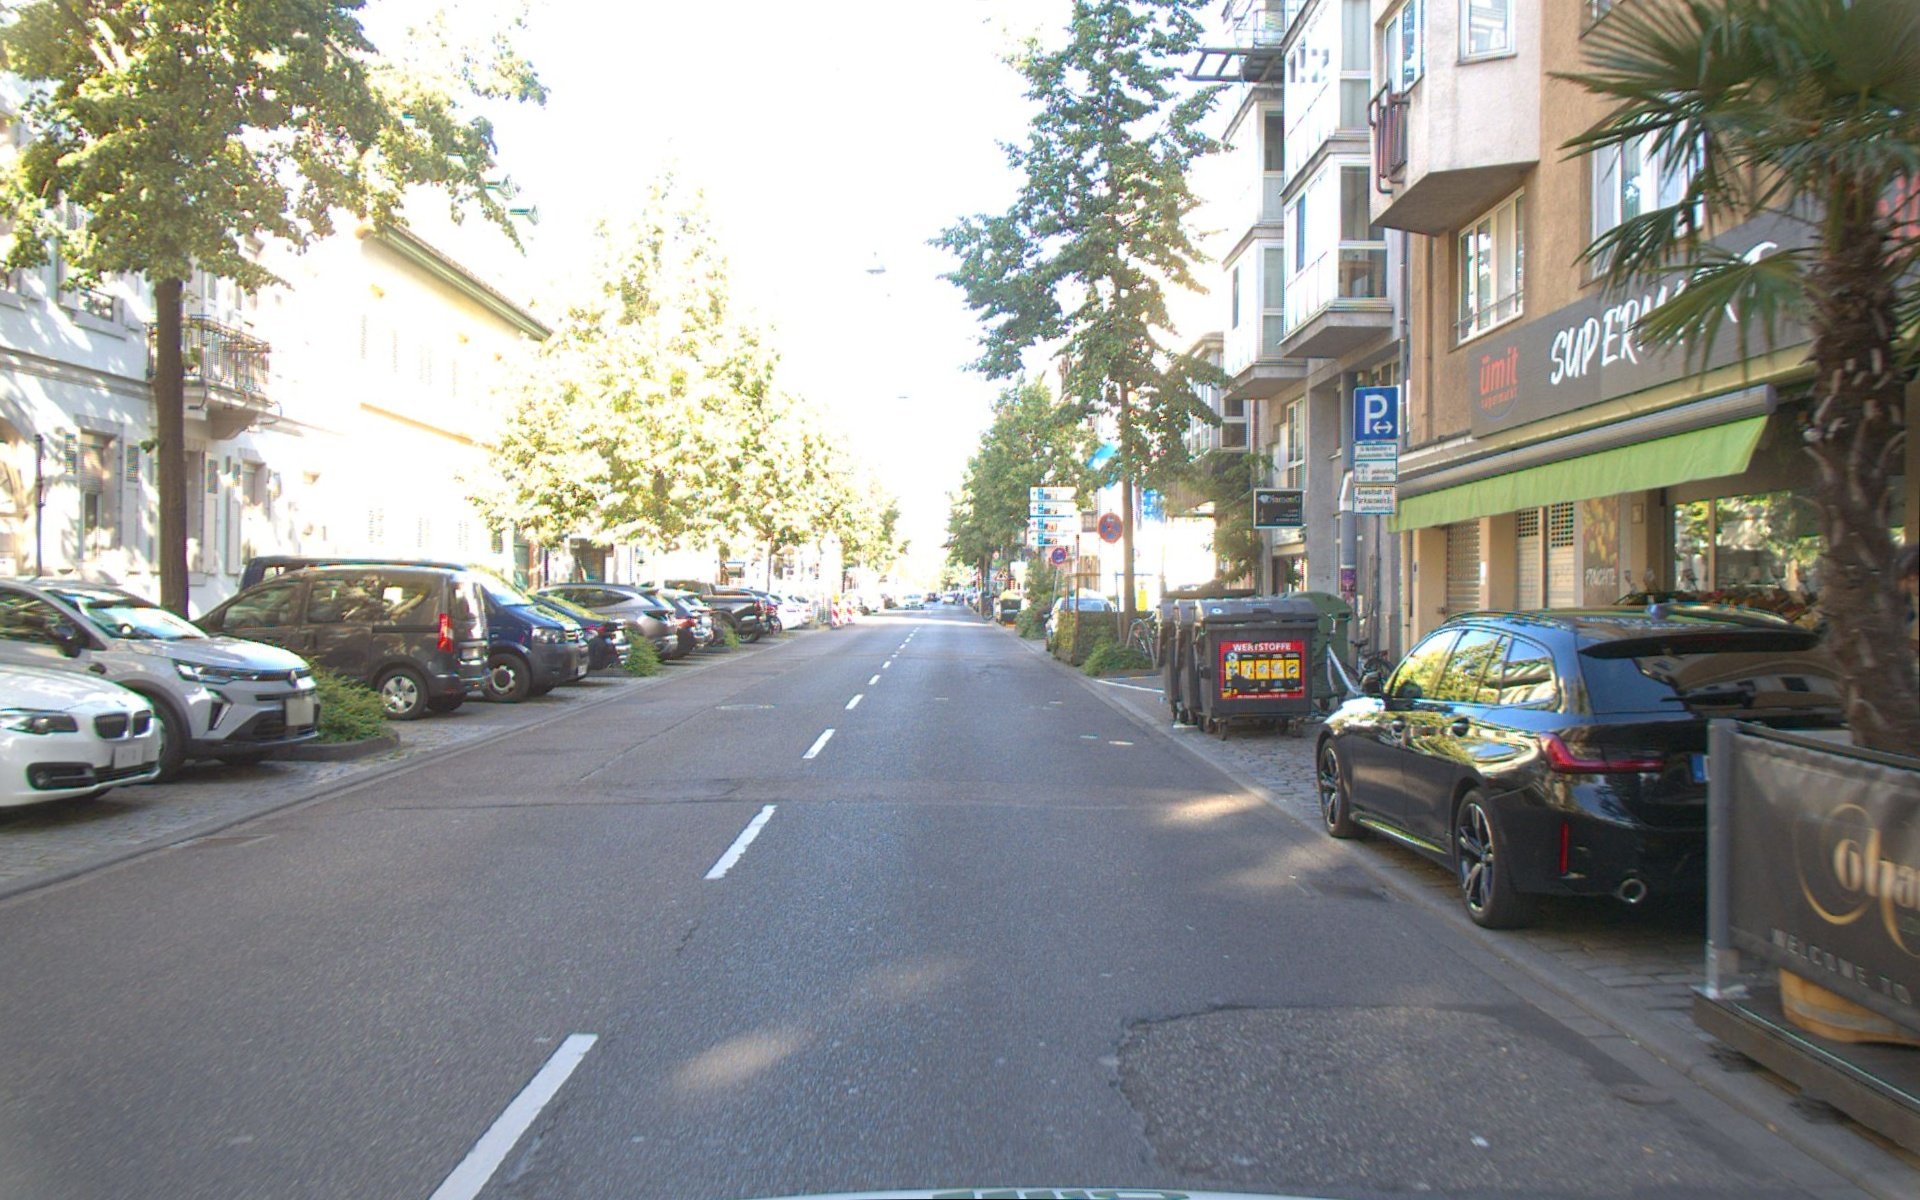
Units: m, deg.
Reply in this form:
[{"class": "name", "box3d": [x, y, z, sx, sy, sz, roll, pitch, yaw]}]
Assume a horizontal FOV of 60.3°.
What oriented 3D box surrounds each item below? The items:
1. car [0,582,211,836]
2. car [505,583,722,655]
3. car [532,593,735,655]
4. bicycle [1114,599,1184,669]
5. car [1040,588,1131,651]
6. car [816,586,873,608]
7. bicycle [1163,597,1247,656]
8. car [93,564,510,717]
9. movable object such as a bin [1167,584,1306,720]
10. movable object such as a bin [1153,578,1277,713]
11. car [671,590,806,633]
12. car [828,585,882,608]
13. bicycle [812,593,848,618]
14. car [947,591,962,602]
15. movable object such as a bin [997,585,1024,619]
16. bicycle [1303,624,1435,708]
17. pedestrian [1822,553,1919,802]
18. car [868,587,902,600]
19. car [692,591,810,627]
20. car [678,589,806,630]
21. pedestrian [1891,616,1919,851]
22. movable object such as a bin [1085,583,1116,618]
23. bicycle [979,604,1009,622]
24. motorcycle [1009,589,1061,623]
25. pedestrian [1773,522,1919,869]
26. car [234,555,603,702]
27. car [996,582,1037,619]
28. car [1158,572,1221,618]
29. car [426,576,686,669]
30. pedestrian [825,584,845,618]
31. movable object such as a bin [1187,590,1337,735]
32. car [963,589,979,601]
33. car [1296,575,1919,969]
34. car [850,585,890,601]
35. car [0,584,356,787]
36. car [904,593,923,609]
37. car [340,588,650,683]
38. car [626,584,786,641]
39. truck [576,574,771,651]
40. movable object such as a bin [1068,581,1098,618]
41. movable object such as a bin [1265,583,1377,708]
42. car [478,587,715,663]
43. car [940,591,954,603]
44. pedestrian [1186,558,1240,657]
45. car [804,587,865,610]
[{"class": "car", "box3d": [-7.668, 0.664, 11.114, 4.376, 1.568, 1.916, 0, 0, -2]}, {"class": "car", "box3d": [-7.904, 0.428, 37.985, 4.584, 1.599, 1.808, 0, 0, 1]}, {"class": "car", "box3d": [-7.947, 0.568, 40.480, 4.584, 1.488, 1.808, 0, 0, 1]}, {"class": "bicycle", "box3d": [3.438, 0.598, 30.232, 0.596, 1.139, 2.051, -7, 1, -9]}, {"class": "car", "box3d": [3.151, 0.454, 42.424, 1.862, 1.436, 4.646, -2, 0, -1]}, {"class": "car", "box3d": [-8.080, -0.211, 116.101, 3.906, 1.414, 1.999, -1, 1, -2]}, {"class": "bicycle", "box3d": [5.040, 0.530, 34.046, 0.676, 1.169, 1.659, -1, 0, -42]}, {"class": "car", "box3d": [-8.046, 0.472, 20.504, 4.374, 1.803, 1.917, 0, 0, 1]}, {"class": "movable object such as a bin", "box3d": [3.125, 0.569, 18.857, 1.370, 1.479, 1.146, -1, 0, -1]}, {"class": "movable object such as a bin", "box3d": [3.066, 0.526, 20.020, 1.303, 1.569, 1.146, -1, 0, -1]}, {"class": "car", "box3d": [-7.797, 0.414, 58.570, 4.588, 1.491, 1.807, 0, 0, -4]}, {"class": "car", "box3d": [-8.169, -0.248, 129.012, 3.903, 1.724, 2.001, -1, 1, 4]}, {"class": "bicycle", "box3d": [-6.617, 0.288, 84.184, 1.820, 1.274, 0.599, 1, 0, -8]}, {"class": "car", "box3d": [-0.759, -0.450, 213.866, 1.785, 1.415, 4.300, -3, 0, -2]}, {"class": "movable object such as a bin", "box3d": [2.377, 0.082, 78.212, 1.118, 1.589, 1.460, -1, 0, 7]}, {"class": "bicycle", "box3d": [4.562, 0.729, 18.538, 0.561, 0.887, 1.630, -1, -1, -23]}, {"class": "pedestrian", "box3d": [6.521, 0.518, 11.524, 0.604, 1.670, 0.762, -1, 0, -1]}, {"class": "car", "box3d": [-8.909, -0.758, 196.738, 3.906, 1.526, 1.999, -1, 1, -2]}, {"class": "car", "box3d": [-8.363, 0.354, 66.368, 4.588, 1.437, 1.807, 0, 0, -4]}, {"class": "car", "box3d": [-8.044, 0.352, 61.278, 4.588, 1.491, 1.807, 0, 0, -4]}, {"class": "pedestrian", "box3d": [5.110, 0.679, 8.517, 0.436, 1.183, 0.498, -1, 0, 43]}, {"class": "movable object such as a bin", "box3d": [6.311, 0.008, 74.331, 1.245, 1.557, 1.176, -1, 0, -2]}, {"class": "bicycle", "box3d": [2.066, 0.785, 100.187, 0.756, 1.077, 1.943, 0, 1, 43]}, {"class": "motorcycle", "box3d": [3.085, 0.238, 67.887, 1.943, 1.353, 0.909, -1, 1, -13]}, {"class": "pedestrian", "box3d": [4.674, 0.473, 8.635, 0.603, 1.725, 0.763, -1, 0, 15]}, {"class": "car", "box3d": [-7.587, 0.385, 23.496, 4.584, 1.984, 1.917, 0, 0, 1]}, {"class": "car", "box3d": [2.804, 0.001, 82.535, 1.785, 1.708, 4.600, -3, 0, 0]}, {"class": "car", "box3d": [8.764, -0.196, 63.501, 1.861, 1.677, 4.294, -1, 0, 1]}, {"class": "car", "box3d": [-7.797, 0.426, 32.184, 4.584, 1.742, 1.808, 0, 0, 1]}, {"class": "pedestrian", "box3d": [-6.413, 0.040, 84.862, 0.785, 1.737, 0.758, 0, 0, -34]}, {"class": "movable object such as a bin", "box3d": [3.205, 0.643, 17.695, 1.370, 1.479, 1.146, -1, 0, -1]}, {"class": "car", "box3d": [1.380, -0.691, 215.402, 1.953, 1.534, 3.999, 0, 0, -1]}, {"class": "car", "box3d": [3.299, 0.673, 9.136, 1.785, 1.497, 4.911, -3, 0, -1]}, {"class": "car", "box3d": [-8.828, -0.727, 162.540, 3.906, 1.526, 1.999, -1, 1, -2]}, {"class": "car", "box3d": [-7.603, 0.656, 13.843, 4.373, 1.568, 1.917, 0, 0, 3]}, {"class": "car", "box3d": [-4.450, 0.078, 157.946, 1.766, 1.460, 4.408, -3, 0, -2]}, {"class": "car", "box3d": [-7.461, 0.555, 26.844, 4.551, 1.484, 1.683, 0, 0, -1]}, {"class": "car", "box3d": [-7.720, 0.374, 50.611, 4.584, 1.723, 1.808, 0, 0, 1]}, {"class": "truck", "box3d": [-7.777, 0.323, 45.310, 4.981, 1.972, 2.000, -1, 0, -1]}, {"class": "movable object such as a bin", "box3d": [5.605, -0.044, 75.689, 1.181, 1.656, 1.497, -1, 0, -2]}, {"class": "movable object such as a bin", "box3d": [4.348, 0.526, 20.009, 1.055, 1.456, 1.295, -1, 0, -1]}, {"class": "car", "box3d": [-7.631, 0.505, 34.982, 4.584, 1.546, 1.808, 0, 0, 1]}, {"class": "car", "box3d": [-1.736, -0.390, 220.361, 1.756, 1.436, 4.000, -1, 1, -1]}, {"class": "pedestrian", "box3d": [5.097, 0.149, 33.292, 0.906, 1.969, 0.761, 0, 0, 24]}, {"class": "car", "box3d": [-8.345, -0.102, 110.310, 3.906, 1.414, 1.999, -1, 1, -2]}]
